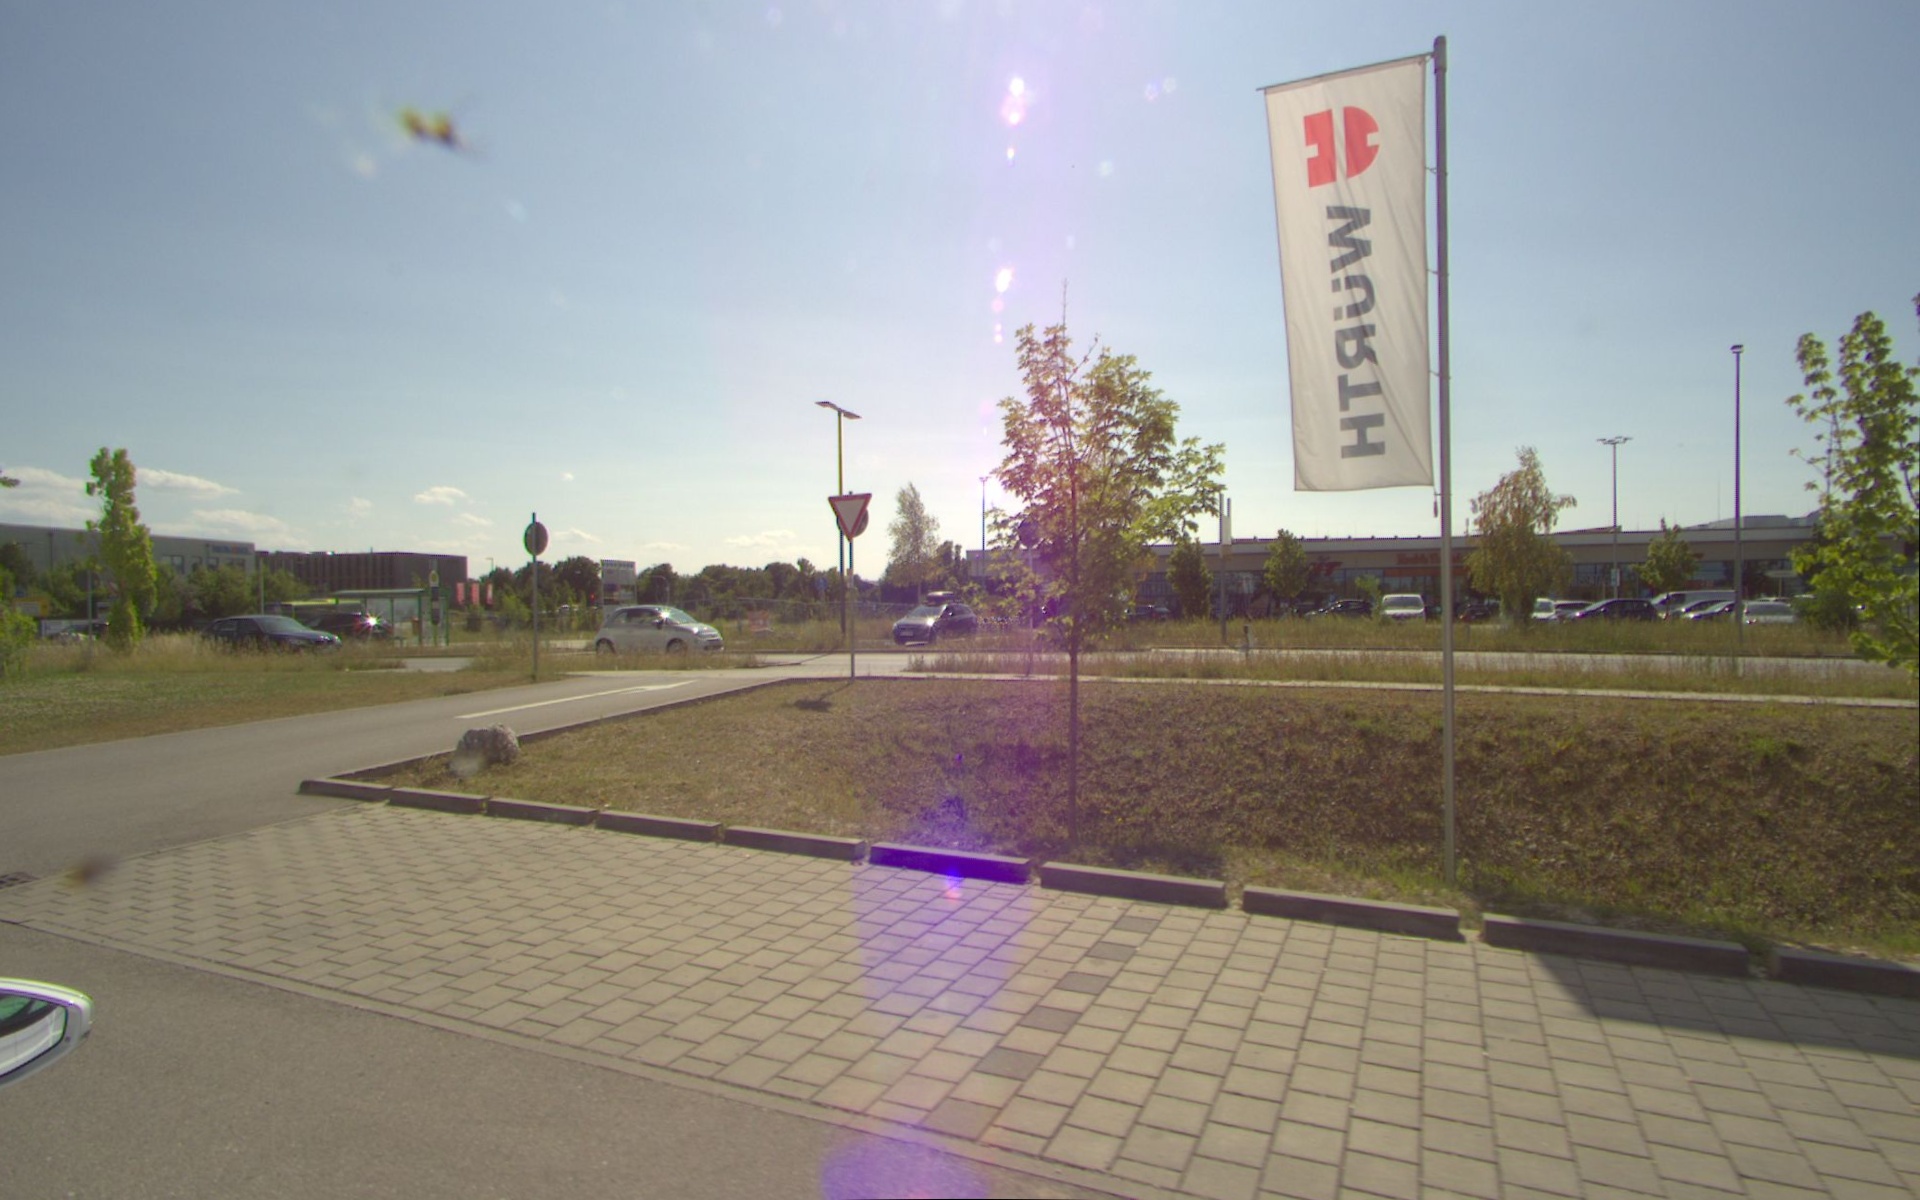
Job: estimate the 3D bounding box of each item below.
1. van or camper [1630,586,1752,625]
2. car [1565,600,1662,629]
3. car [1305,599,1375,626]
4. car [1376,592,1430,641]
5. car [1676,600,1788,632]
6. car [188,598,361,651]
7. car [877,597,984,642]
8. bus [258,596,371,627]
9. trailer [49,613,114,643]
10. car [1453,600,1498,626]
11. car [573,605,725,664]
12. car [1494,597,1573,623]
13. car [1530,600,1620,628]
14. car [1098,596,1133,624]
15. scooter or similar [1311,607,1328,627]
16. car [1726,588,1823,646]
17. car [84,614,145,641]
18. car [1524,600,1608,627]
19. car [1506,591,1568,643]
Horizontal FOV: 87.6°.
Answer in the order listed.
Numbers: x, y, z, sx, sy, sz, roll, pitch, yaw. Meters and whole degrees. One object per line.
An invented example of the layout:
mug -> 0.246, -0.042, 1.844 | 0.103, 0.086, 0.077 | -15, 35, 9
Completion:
van or camper -> 39.531, 0.320, 54.291 | 4.962, 2.040, 1.996 | 0, 0, 19
car -> 32.639, 0.720, 50.093 | 3.663, 1.409, 1.730 | -1, 0, 14
car -> 22.390, 0.749, 59.104 | 3.738, 1.528, 1.729 | -1, 0, 18
car -> 19.575, 0.699, 44.236 | 2.053, 2.040, 5.212 | 0, 0, 24
car -> 37.816, 0.796, 49.155 | 3.929, 1.527, 1.872 | 0, -1, 19
car -> -21.071, 0.746, 30.847 | 4.304, 1.571, 1.914 | 0, -1, 10
car -> -0.993, 0.712, 36.486 | 1.971, 1.536, 4.176 | 0, -1, 31
bus -> -60.458, 1.045, 94.347 | 2.530, 2.771, 11.567 | 0, 0, 4
trailer -> -58.735, 1.851, 67.035 | 1.796, 1.884, 3.993 | 0, -1, -17
car -> 35.469, 0.889, 69.036 | 1.964, 1.729, 3.995 | -1, 0, 16
car -> -8.656, 0.935, 27.944 | 3.713, 1.571, 1.740 | 0, -1, 15
car -> 33.617, 0.592, 58.763 | 3.663, 1.409, 1.730 | -1, 0, 14
car -> 32.452, 0.729, 52.916 | 3.663, 1.409, 1.730 | -1, 0, 14
car -> 12.005, 0.745, 76.818 | 2.188, 2.003, 6.691 | -1, -1, 13
scooter or similar -> 20.754, 0.984, 57.815 | 0.930, 1.094, 0.650 | -1, 0, 22
car -> 30.986, 0.631, 38.276 | 2.133, 2.040, 5.091 | 0, 0, 31
car -> -59.763, 1.915, 70.857 | 1.796, 1.884, 3.993 | 0, -1, -17
car -> 33.659, 0.761, 55.705 | 3.663, 1.409, 1.730 | -1, 0, 14
car -> 24.211, 0.676, 41.984 | 2.133, 2.040, 5.091 | 0, 0, 31
